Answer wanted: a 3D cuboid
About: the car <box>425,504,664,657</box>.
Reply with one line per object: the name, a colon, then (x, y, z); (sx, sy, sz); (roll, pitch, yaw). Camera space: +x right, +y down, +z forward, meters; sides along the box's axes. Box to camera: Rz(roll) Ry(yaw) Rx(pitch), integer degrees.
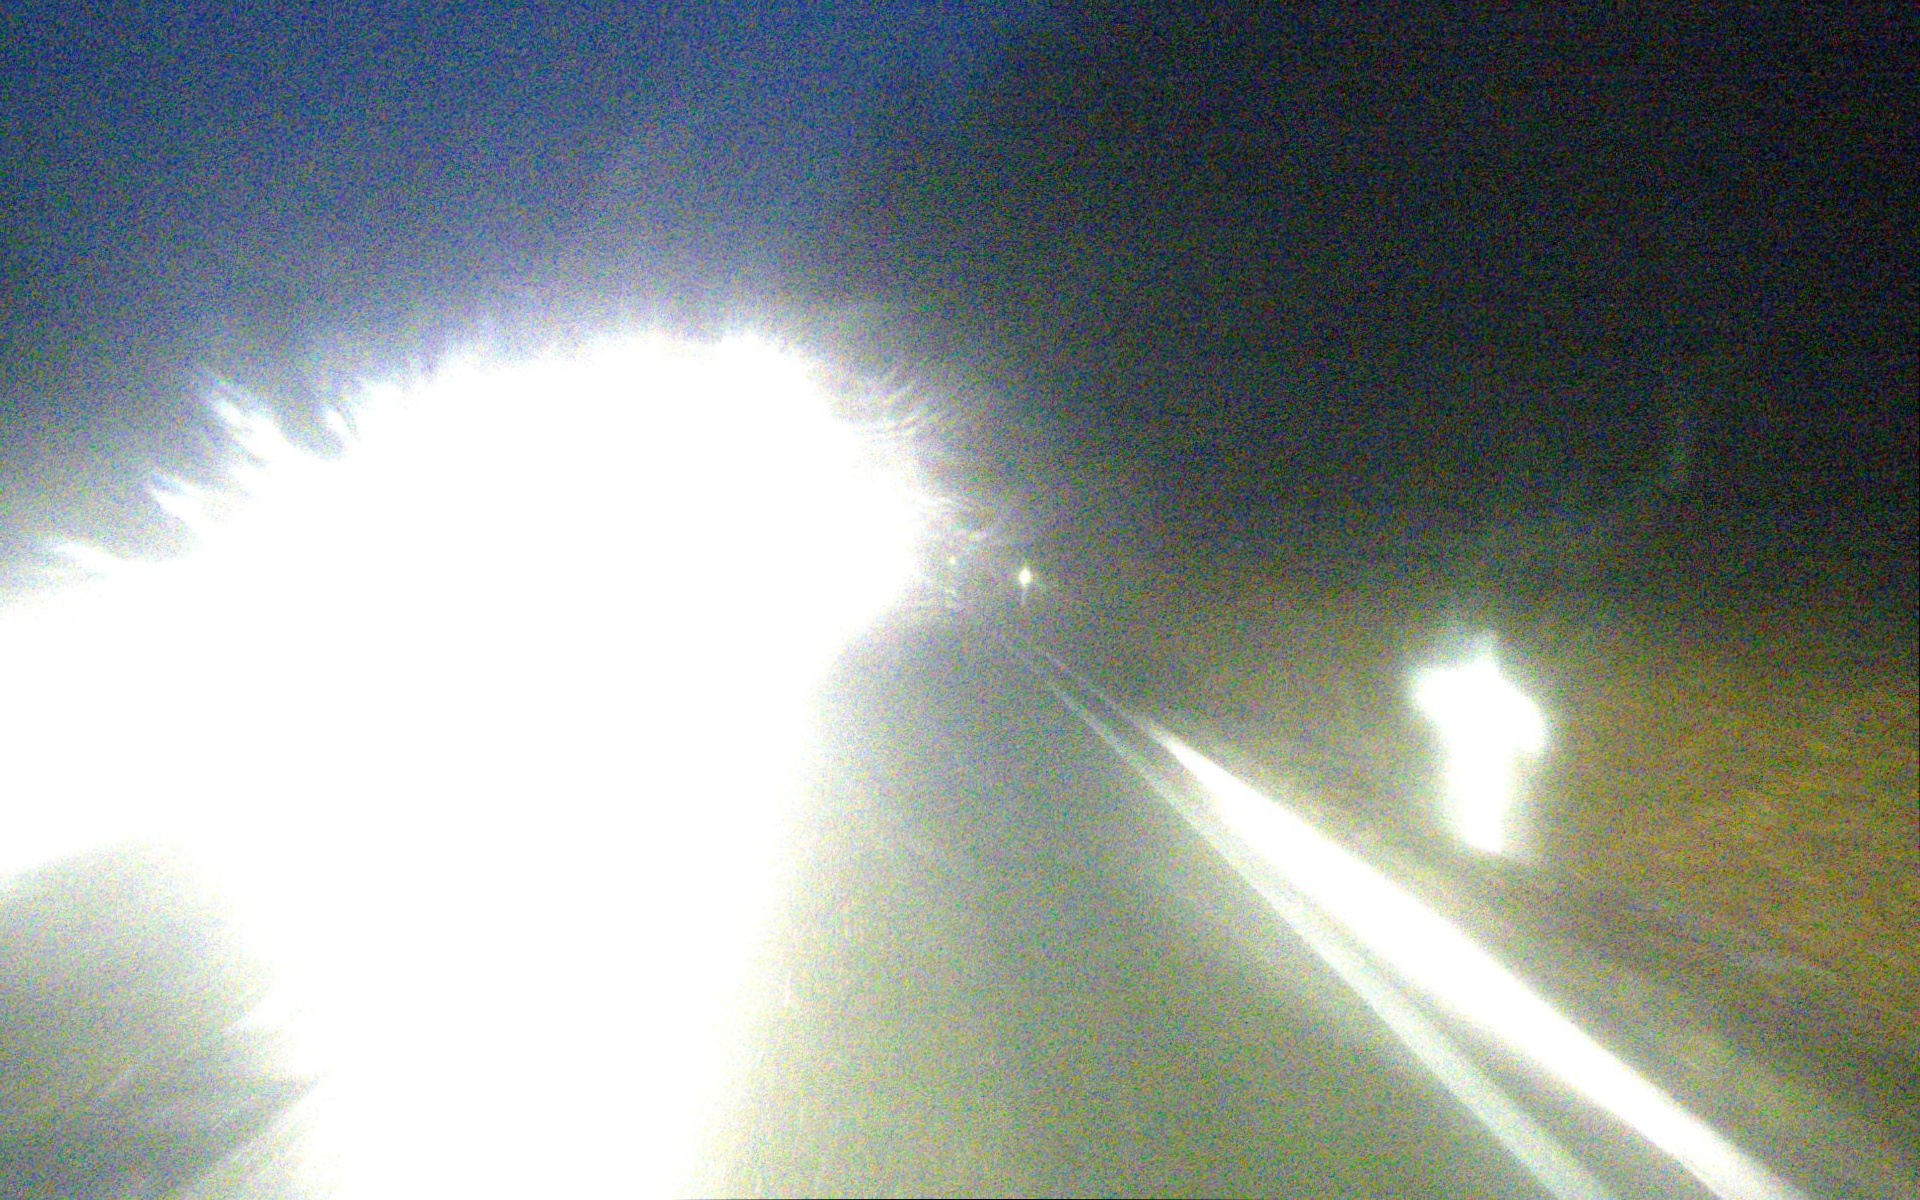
car: (-4.238, -0.232, 35.705); (1.993, 1.443, 4.430); (1, 1, -1)
